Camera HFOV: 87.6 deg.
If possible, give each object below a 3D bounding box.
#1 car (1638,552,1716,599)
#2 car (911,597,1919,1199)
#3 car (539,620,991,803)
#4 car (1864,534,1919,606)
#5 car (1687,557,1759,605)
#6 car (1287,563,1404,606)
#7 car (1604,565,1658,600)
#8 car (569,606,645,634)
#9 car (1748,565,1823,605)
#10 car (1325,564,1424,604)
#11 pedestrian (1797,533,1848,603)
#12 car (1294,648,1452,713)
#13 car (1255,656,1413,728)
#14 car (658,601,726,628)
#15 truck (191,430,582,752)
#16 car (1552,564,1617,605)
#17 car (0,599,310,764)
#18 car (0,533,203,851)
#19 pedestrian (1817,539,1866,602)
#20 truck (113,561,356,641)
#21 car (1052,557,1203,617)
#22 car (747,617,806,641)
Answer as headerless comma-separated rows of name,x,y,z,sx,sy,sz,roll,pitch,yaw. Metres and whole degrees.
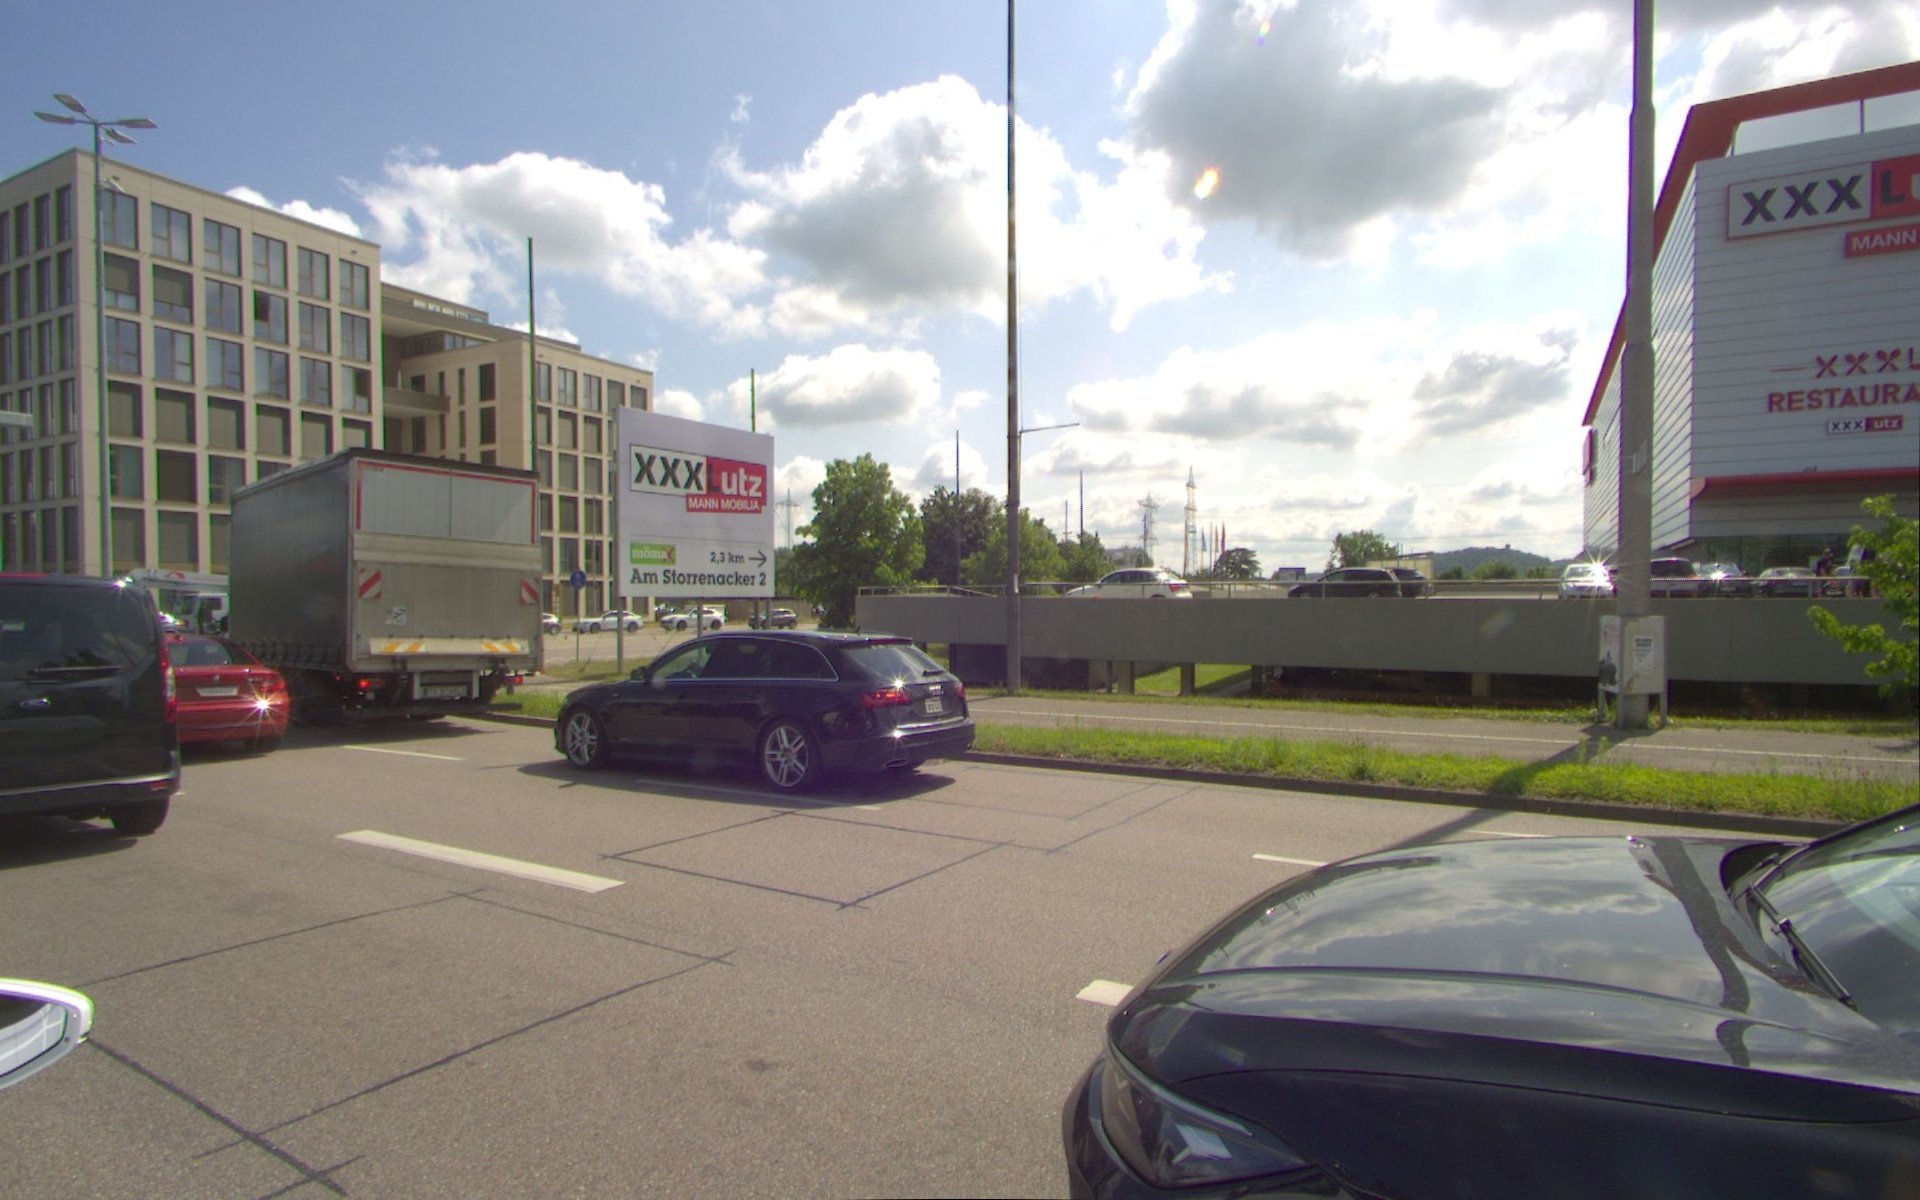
car,28.176,-0.896,39.459,1.925,1.626,4.406,0,-1,28
car,2.563,0.747,0.985,5.129,1.497,1.805,-1,-1,32
car,-2.102,0.954,10.190,4.613,1.497,1.770,-1,-1,33
car,26.395,-0.774,27.469,1.892,1.772,4.163,-1,-2,36
car,31.846,-0.726,41.896,1.888,1.772,3.982,-1,-2,31
car,15.783,-0.580,41.021,4.352,1.626,1.948,-1,-1,26
car,35.200,-0.882,52.597,1.925,1.626,4.406,0,-1,28
car,-24.236,1.404,68.842,1.806,1.861,4.692,-1,-2,38
car,33.996,-0.582,41.339,1.536,1.490,4.406,0,-1,28
car,20.155,-0.740,48.646,4.352,1.808,1.948,-1,-1,26
pedestrian,25.820,-0.932,29.993,0.694,2.039,0.910,0,-1,-13
car,12.618,2.397,30.622,4.296,1.772,1.992,-1,-1,29
car,10.529,2.536,28.215,3.938,1.772,1.992,-1,-1,29
car,-19.792,1.106,74.079,1.809,1.861,4.675,-2,-2,43
truck,-10.033,0.043,16.906,8.973,4.078,3.196,-2,-2,43
car,25.321,-0.582,40.720,1.925,1.490,4.406,0,-1,28
car,-9.881,0.909,12.132,4.160,1.676,1.855,-2,-2,33
car,-7.390,0.582,7.277,3.944,1.929,1.819,-1,-1,34
pedestrian,25.601,-0.836,29.099,0.694,1.765,1.019,-1,-1,18
truck,-35.727,0.238,49.952,2.632,3.600,9.755,-1,-2,25
car,5.028,-0.344,30.095,4.100,1.606,1.875,-1,-2,28
car,-14.533,2.334,79.585,1.809,1.861,4.408,-2,-2,43
